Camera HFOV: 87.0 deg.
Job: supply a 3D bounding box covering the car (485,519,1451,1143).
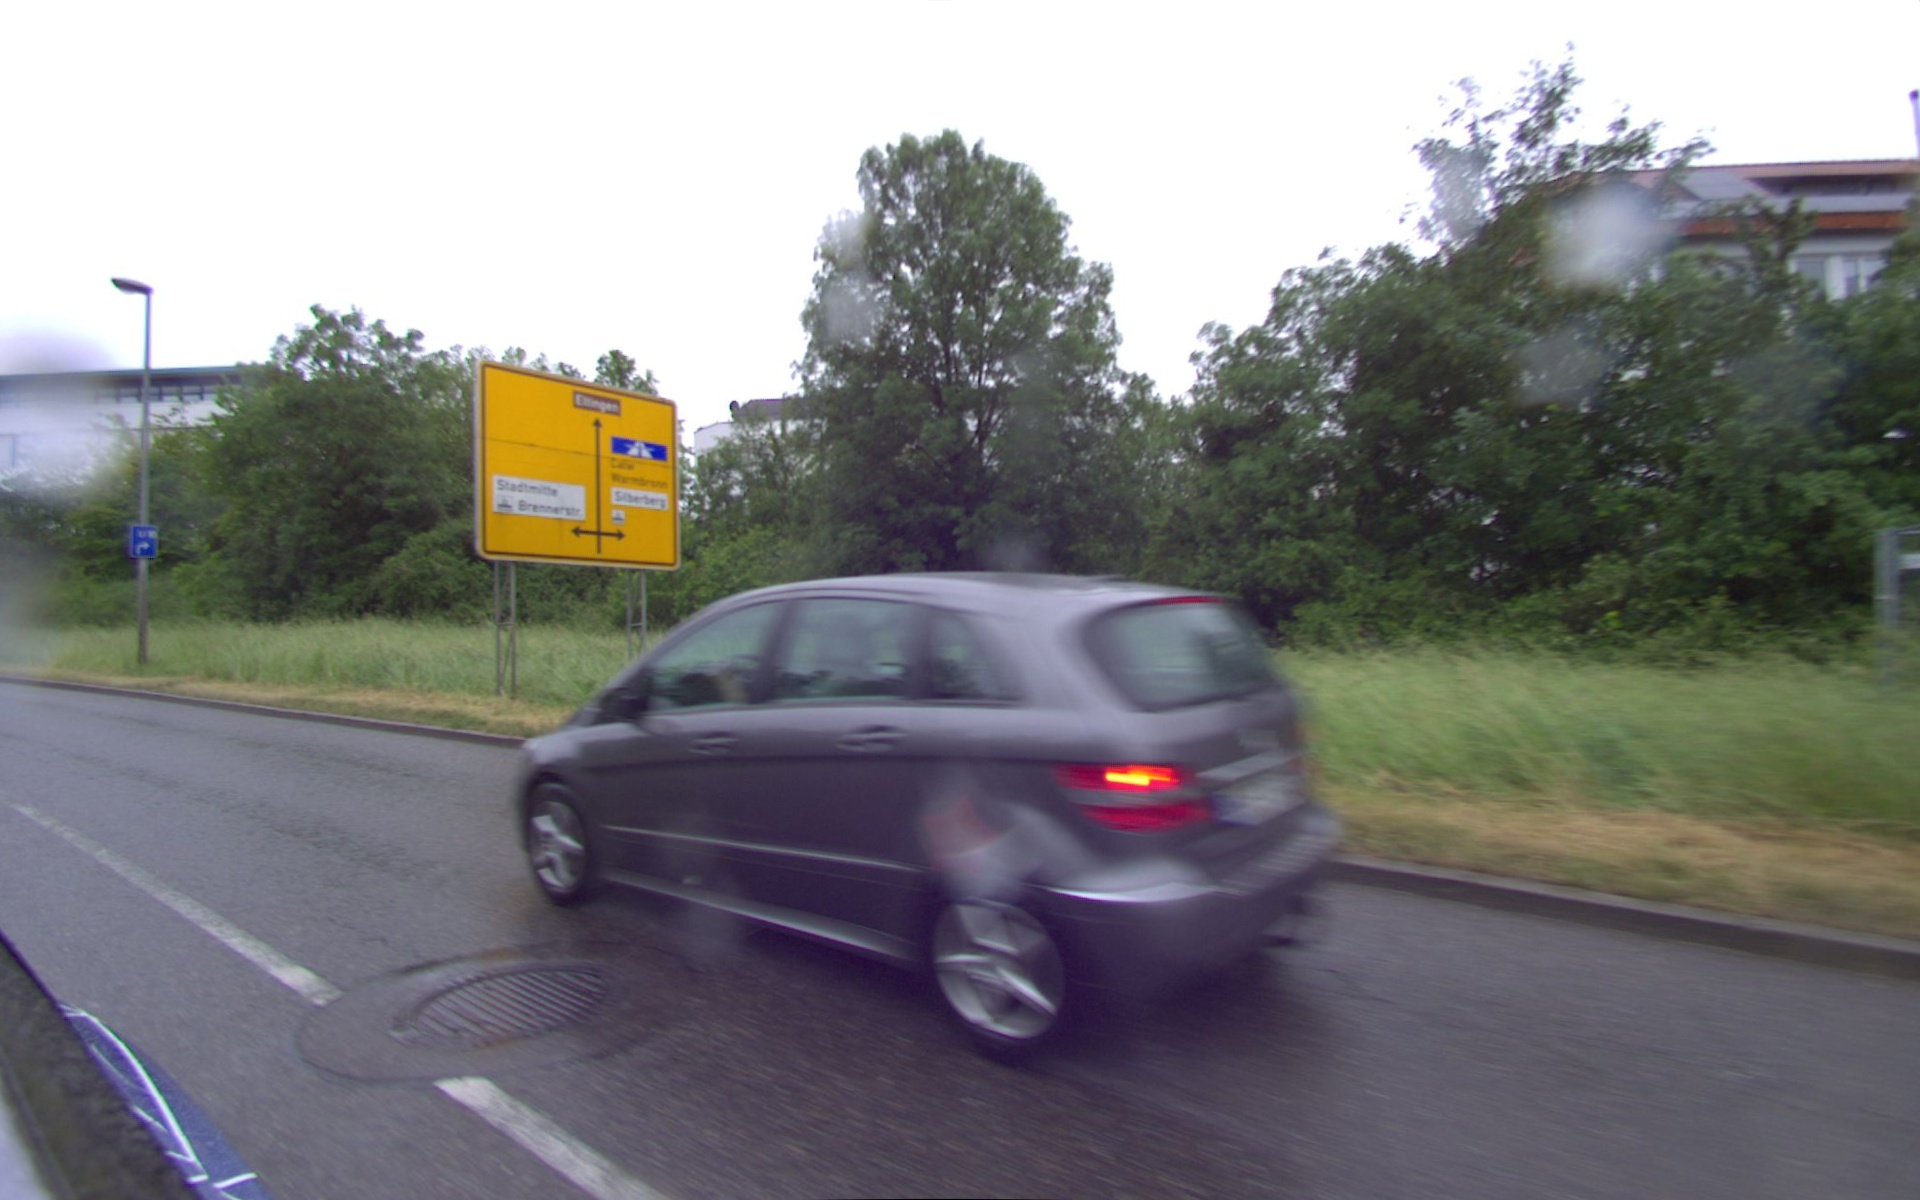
[{"bbox_3d":[-0.297,0.591,4.647,4.264,1.564,1.845,-1,0,41],"label":"car"}]
